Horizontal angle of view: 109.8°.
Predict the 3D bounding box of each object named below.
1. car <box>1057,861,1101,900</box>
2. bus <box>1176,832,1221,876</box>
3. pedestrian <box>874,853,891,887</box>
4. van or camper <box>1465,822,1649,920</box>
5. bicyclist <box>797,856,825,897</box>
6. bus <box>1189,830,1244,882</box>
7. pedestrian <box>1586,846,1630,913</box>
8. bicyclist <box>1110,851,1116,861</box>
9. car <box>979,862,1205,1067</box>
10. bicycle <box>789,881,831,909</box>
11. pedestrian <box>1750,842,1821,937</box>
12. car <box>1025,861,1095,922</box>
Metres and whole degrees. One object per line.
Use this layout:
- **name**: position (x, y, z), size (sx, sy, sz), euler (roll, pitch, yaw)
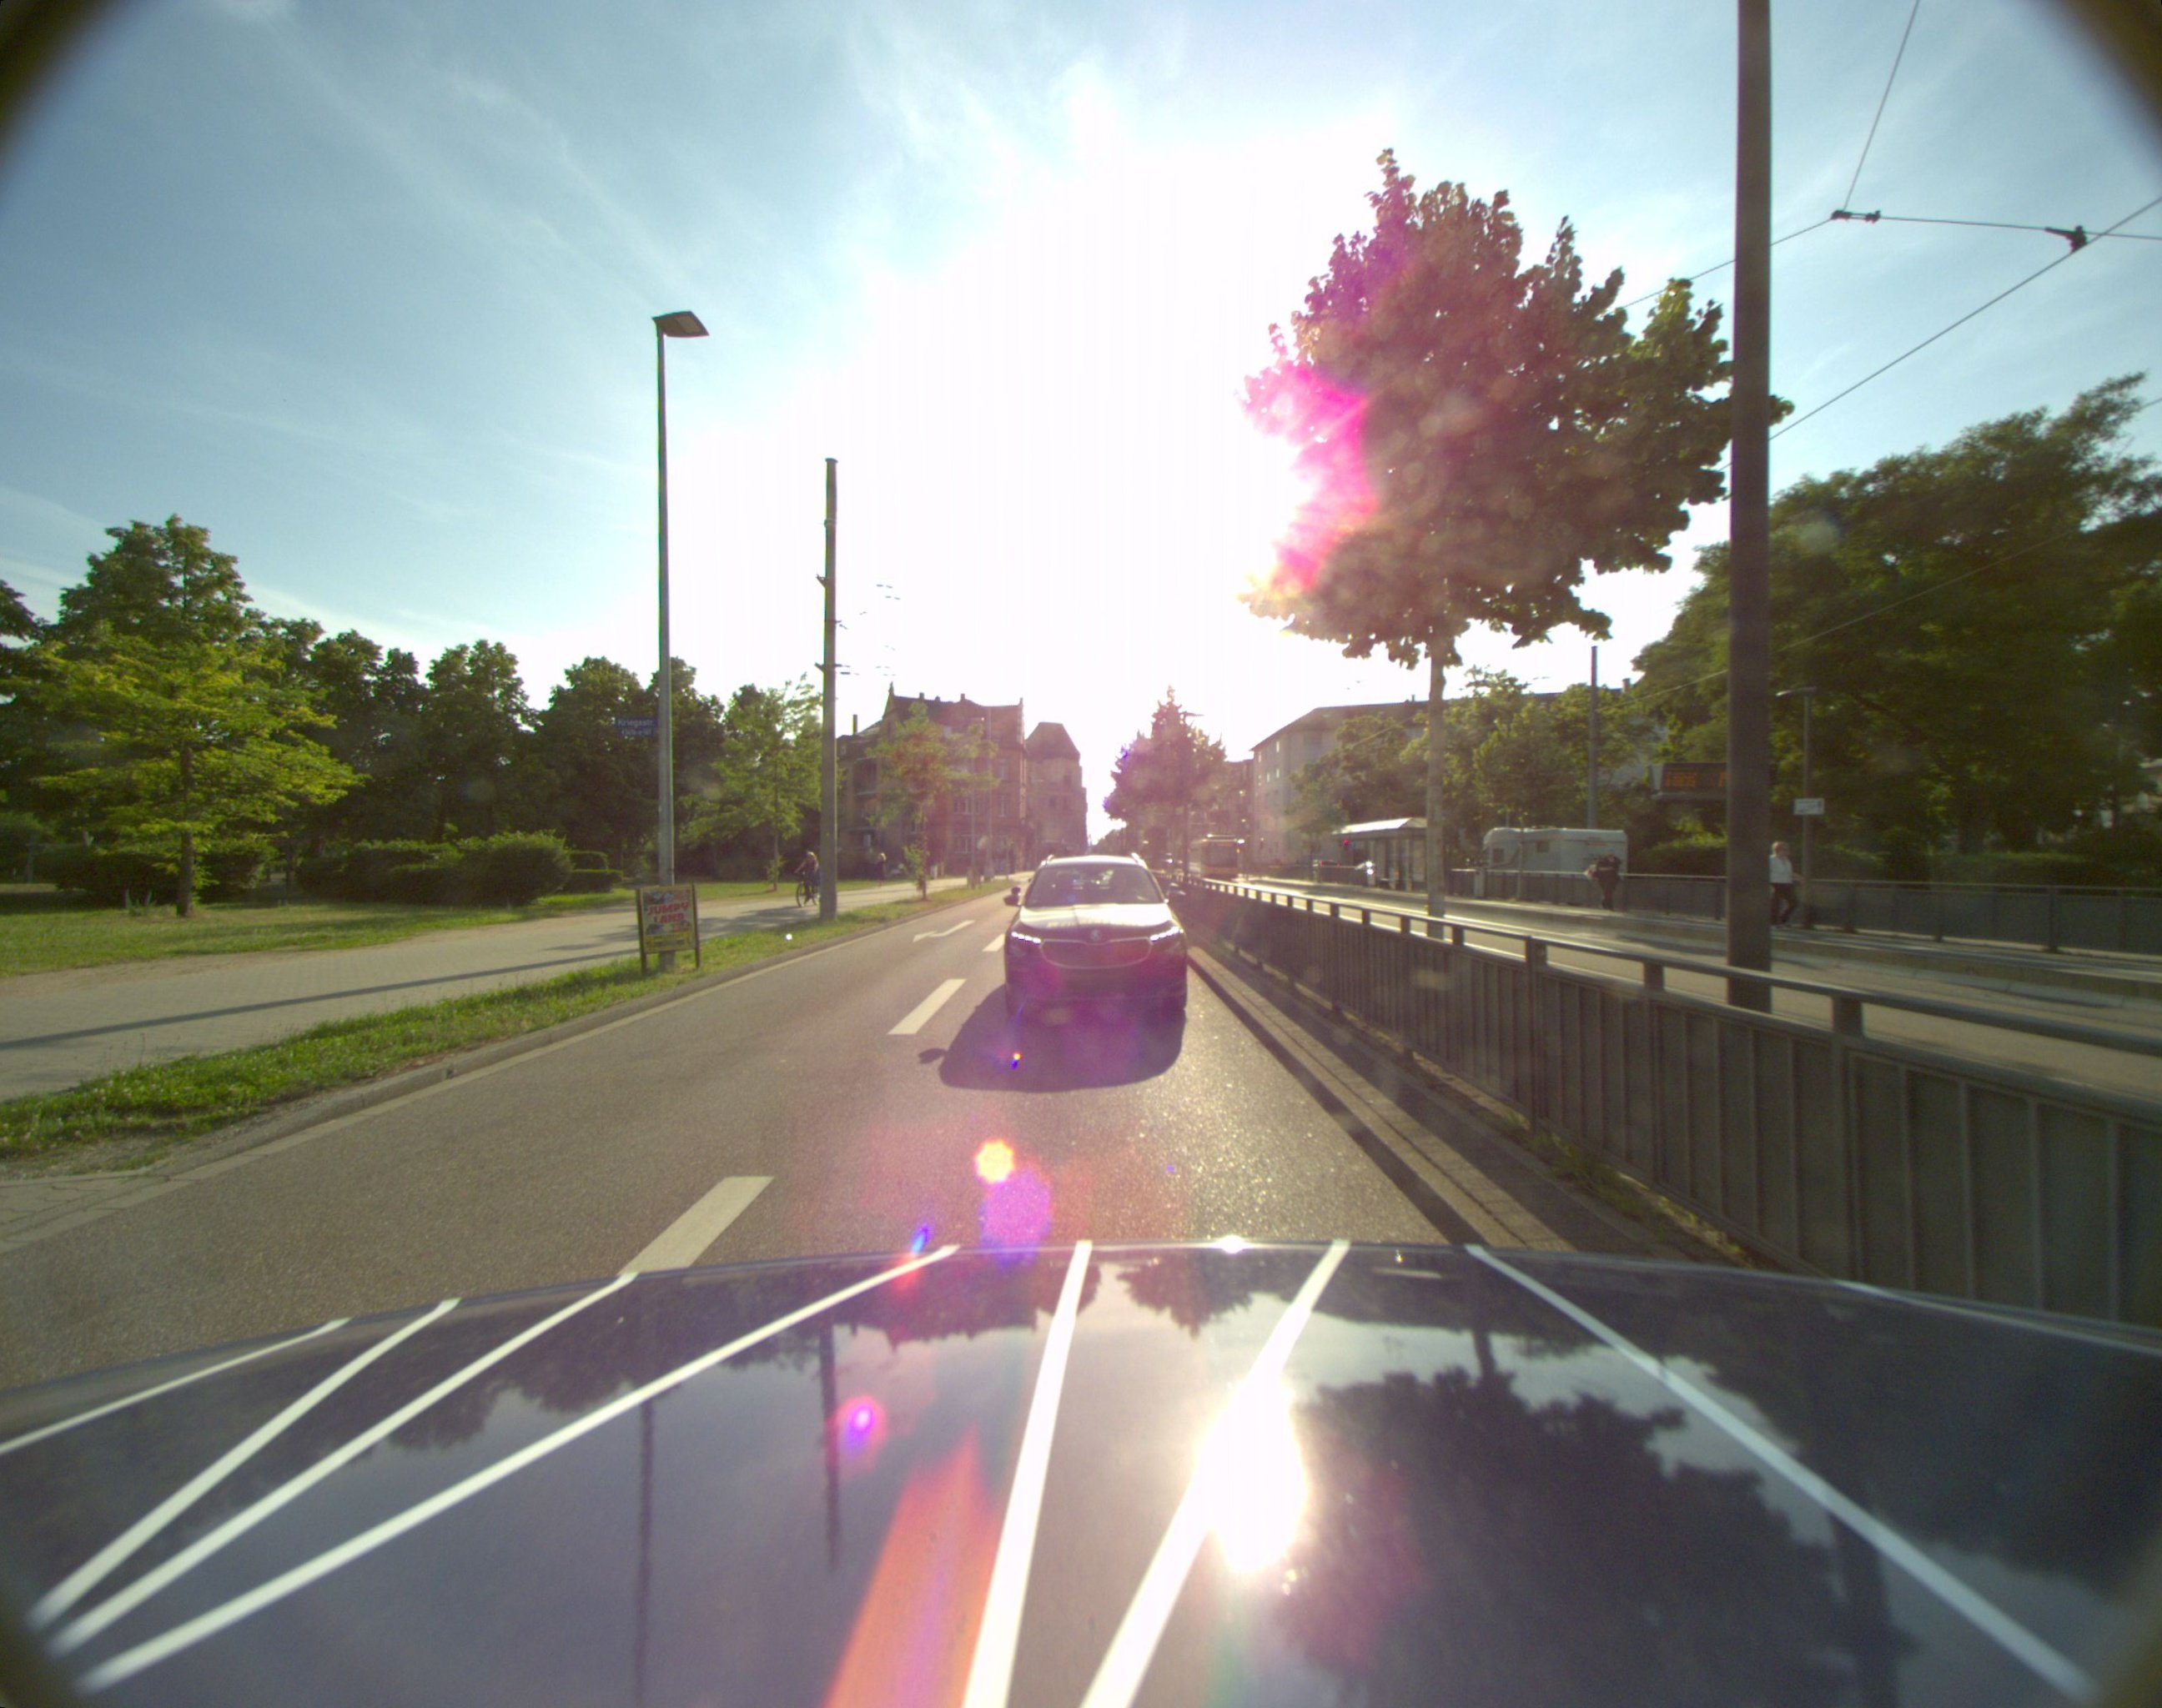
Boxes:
- **car**: position (-0.055, 1.098, 33.232), size (1.756, 1.534, 4.235), euler (-2, 0, 1)
- **bus**: position (10.016, -0.034, 65.486), size (2.437, 3.415, 9.261), euler (-2, 1, 1)
- **pedestrian**: position (-9.802, 0.786, 37.617), size (0.621, 1.675, 0.618), euler (-2, 1, 1)
- **van or camper**: position (16.520, 0.498, 26.986), size (2.527, 2.951, 6.410), euler (-2, 1, 1)
- **bicyclist**: position (-8.390, 0.685, 23.643), size (0.535, 1.255, 0.869), euler (0, 0, 1)
- **bus**: position (9.881, 0.074, 56.212), size (2.437, 3.415, 9.261), euler (-2, 1, 1)
- **pedestrian**: position (13.504, 0.647, 19.483), size (0.621, 1.675, 0.618), euler (3, 1, 1)
- **bicyclist**: position (4.455, 0.261, 105.386), size (0.688, 1.445, 1.112), euler (0, 0, 12)
- **car**: position (0.115, 0.906, 8.175), size (1.756, 1.534, 4.235), euler (-2, 0, 1)
- **bicycle**: position (-8.396, 1.243, 23.590), size (0.496, 0.753, 2.168), euler (1, 0, 1)
- **pedestrian**: position (12.968, 0.643, 14.006), size (0.621, 1.675, 0.618), euler (3, 1, 1)
- **car**: position (-0.507, 0.974, 21.426), size (1.756, 1.451, 4.235), euler (-2, 0, 1)
